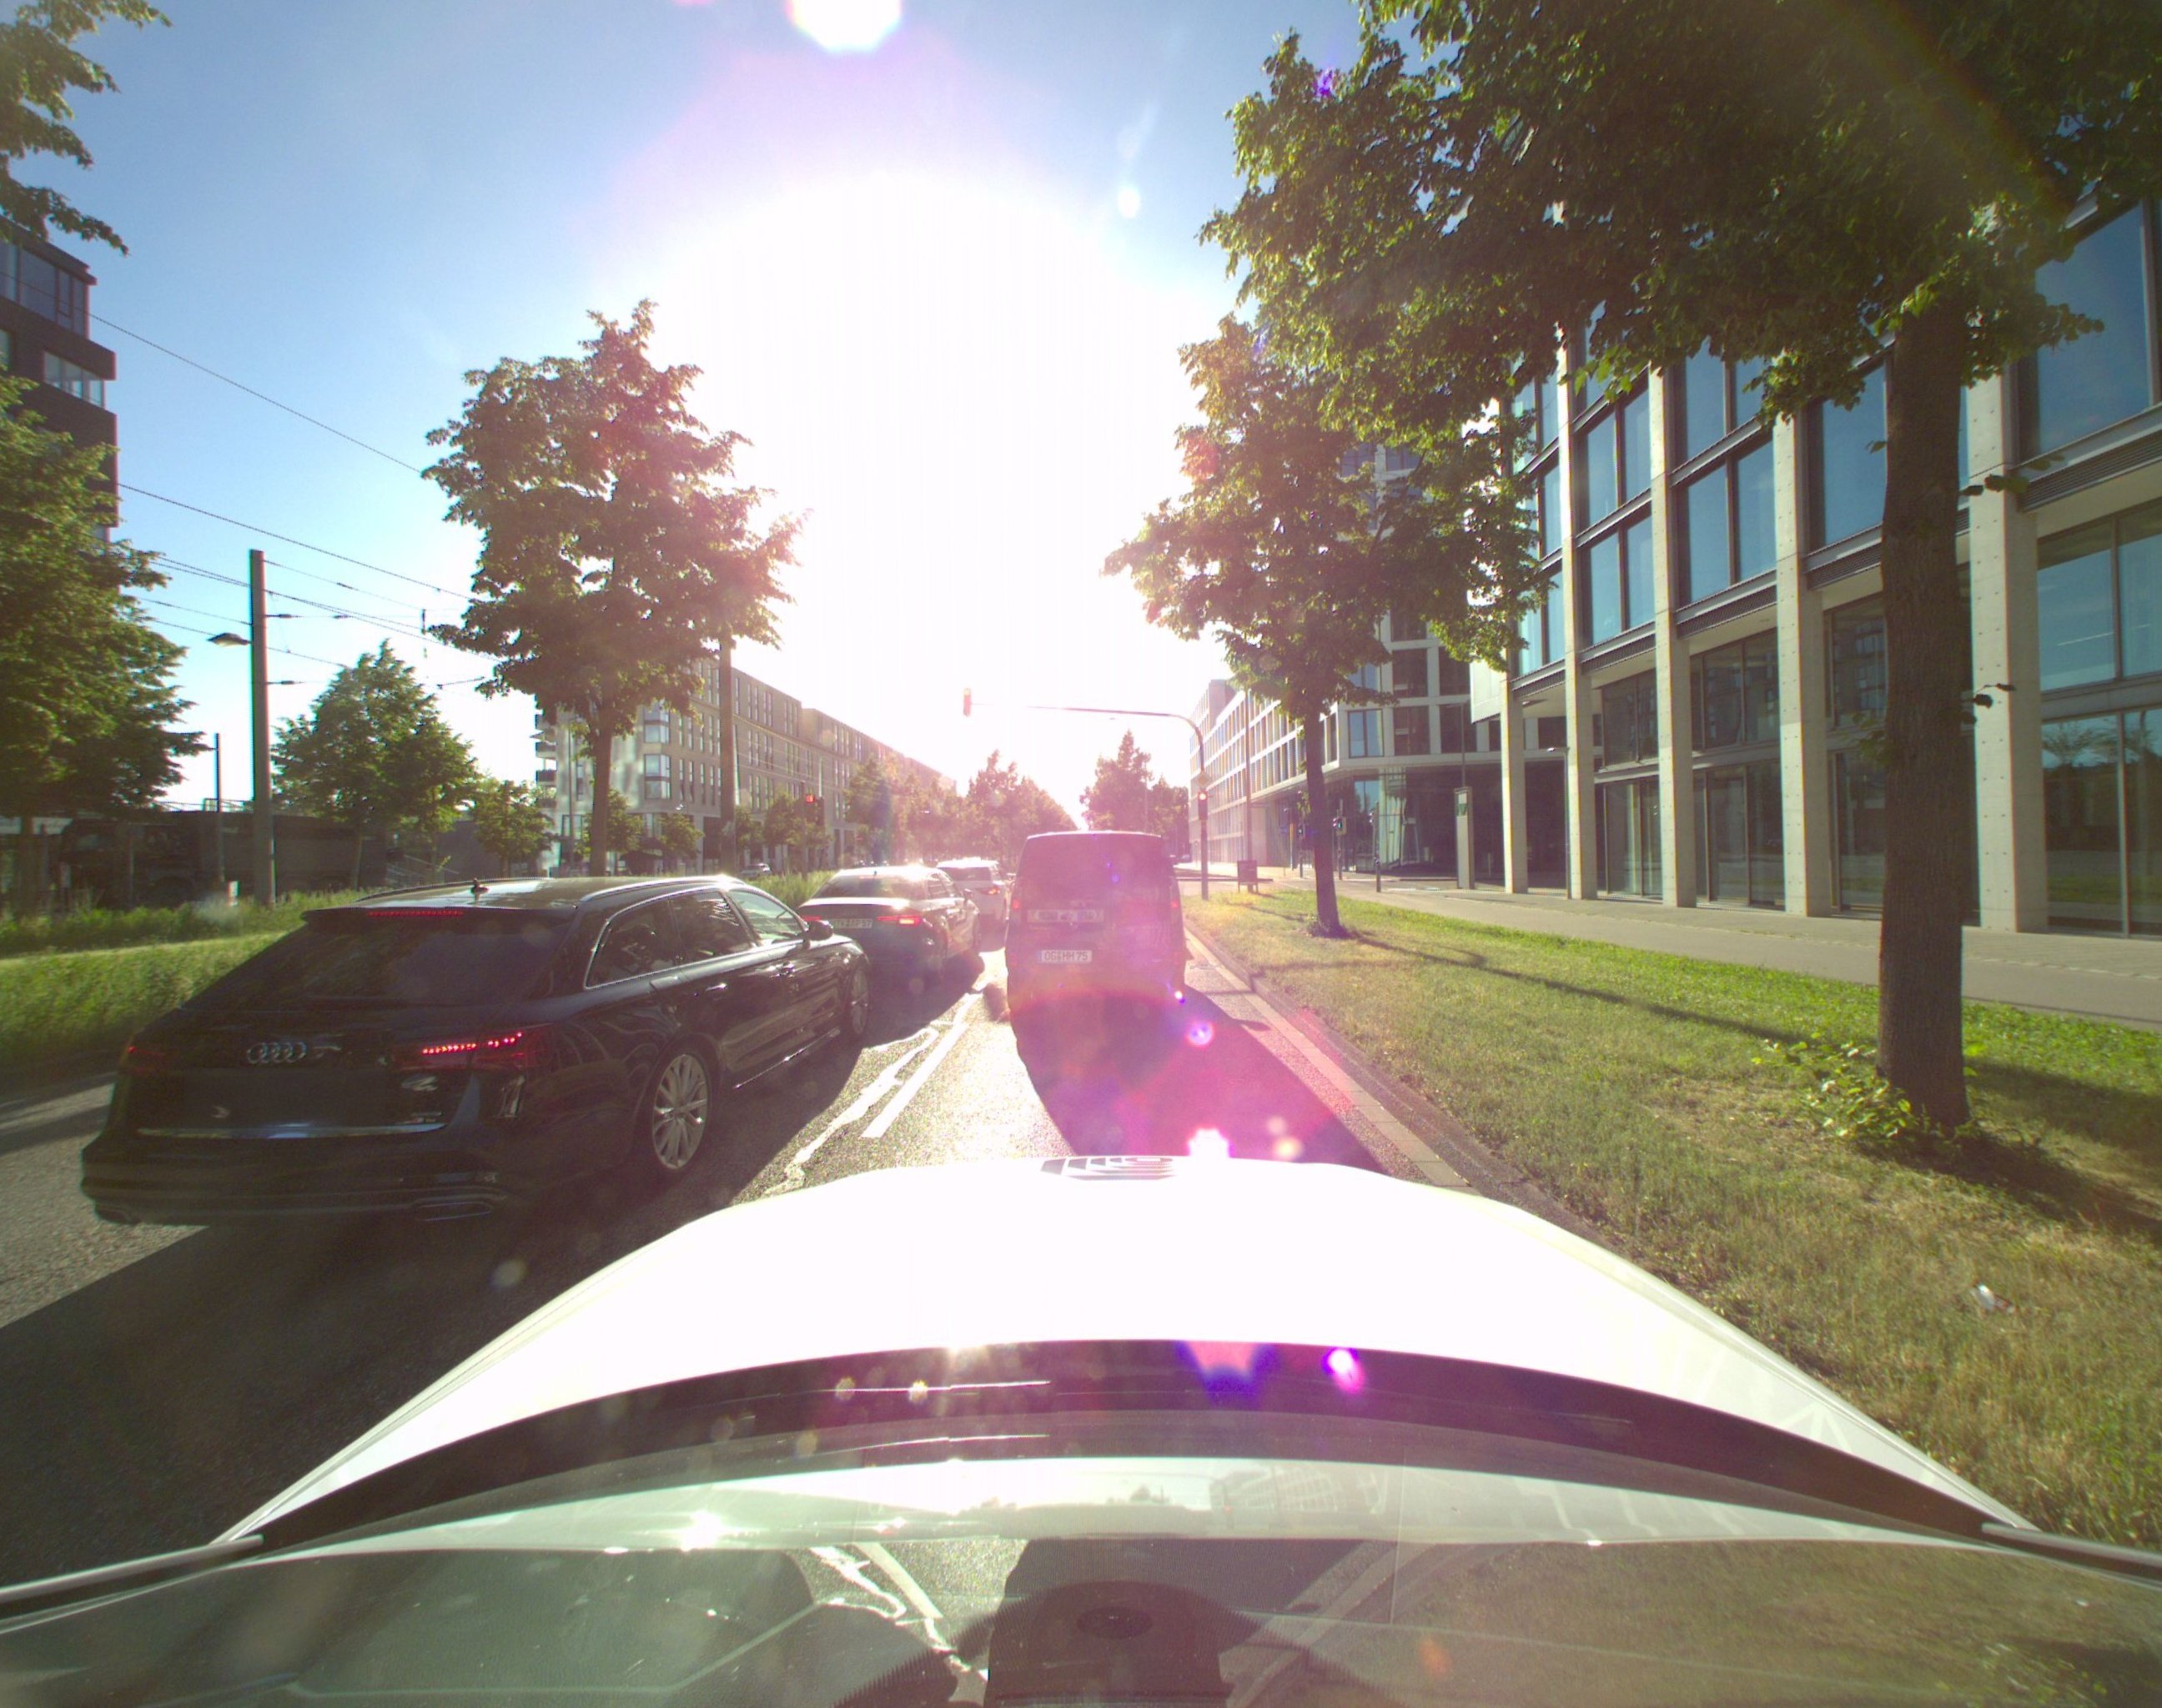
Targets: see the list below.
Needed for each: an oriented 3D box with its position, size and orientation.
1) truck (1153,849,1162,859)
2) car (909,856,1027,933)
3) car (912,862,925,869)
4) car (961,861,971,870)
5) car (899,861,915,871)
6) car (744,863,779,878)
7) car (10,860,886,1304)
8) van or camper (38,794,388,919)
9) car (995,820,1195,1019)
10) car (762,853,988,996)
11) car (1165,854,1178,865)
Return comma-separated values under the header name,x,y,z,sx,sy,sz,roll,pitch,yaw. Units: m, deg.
name,x,y,z,sx,sy,sz,roll,pitch,yaw
truck,18.614,-0.020,198.656,1.825,2.501,5.934,-1,-1,1
car,-2.308,0.779,17.691,1.801,1.434,4.115,-1,0,2
car,-29.898,2.102,150.296,1.574,1.342,3.713,-1,0,1
car,-28.166,2.737,199.554,1.723,2.013,3.999,-1,0,-1
car,-29.473,2.039,137.680,1.769,1.528,3.807,-1,0,1
car,-31.567,1.625,80.483,1.574,1.342,4.473,-1,0,1
car,-2.727,0.805,5.060,1.801,1.457,4.509,-1,0,2
van or camper,-33.691,0.106,32.628,2.743,4.192,10.234,-1,0,2
car,0.222,0.605,9.547,1.801,1.794,4.115,-1,0,2
car,-2.498,0.775,10.971,1.801,1.527,4.115,-1,0,2
car,14.203,0.819,127.740,1.750,1.611,3.906,-1,0,3
